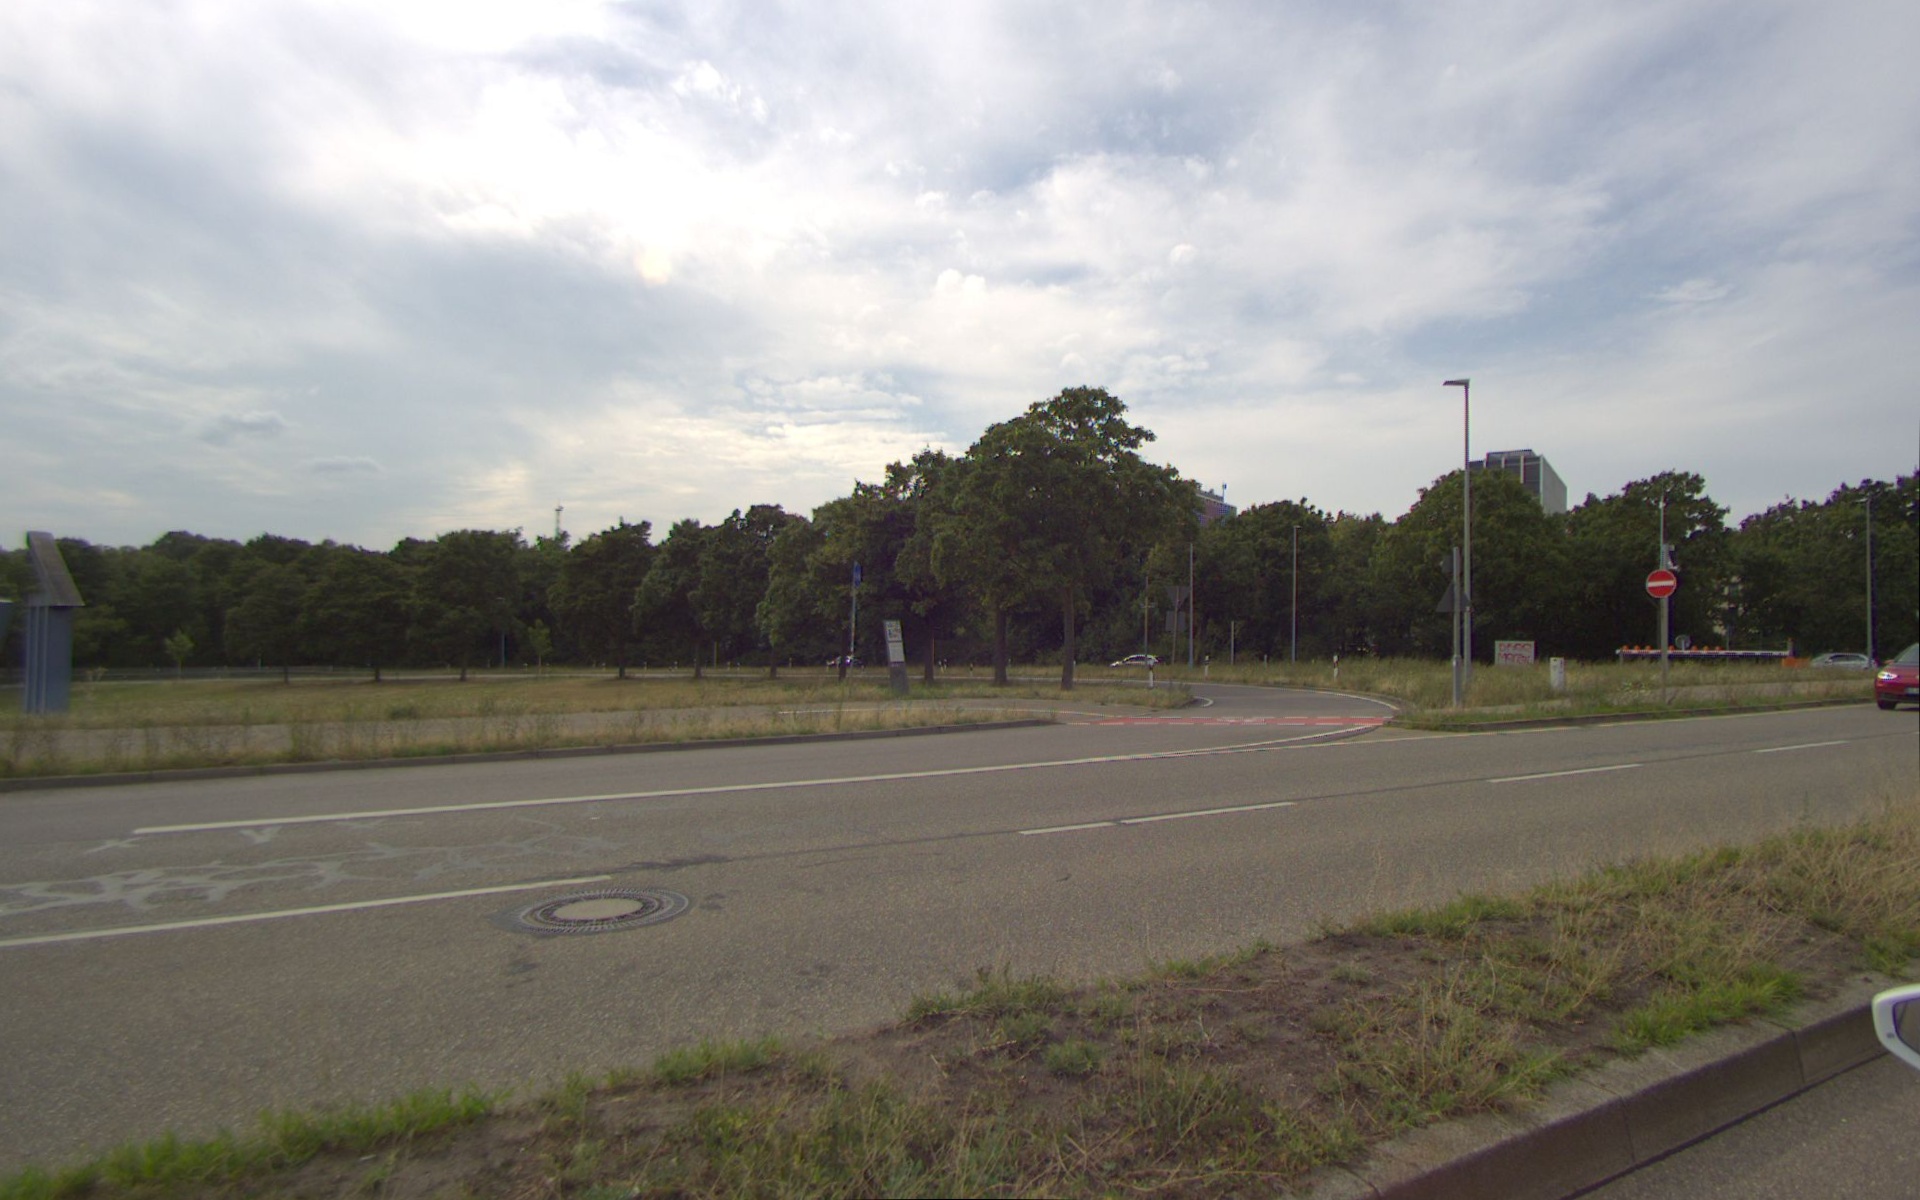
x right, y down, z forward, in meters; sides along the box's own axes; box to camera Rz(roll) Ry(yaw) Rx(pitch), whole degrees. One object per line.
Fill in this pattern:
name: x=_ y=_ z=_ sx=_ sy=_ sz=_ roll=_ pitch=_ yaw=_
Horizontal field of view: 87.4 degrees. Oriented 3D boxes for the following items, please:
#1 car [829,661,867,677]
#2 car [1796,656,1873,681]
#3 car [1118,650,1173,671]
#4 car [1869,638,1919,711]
car: x=-10.890 y=6.712 z=97.843 sx=3.823 sy=1.414 sz=1.566 roll=-2 pitch=-3 yaw=41
car: x=46.045 y=3.603 z=52.889 sx=2.950 sy=1.290 sz=1.273 roll=0 pitch=-2 yaw=-1
car: x=13.588 y=4.438 z=73.841 sx=1.562 sy=1.414 sz=3.832 roll=2 pitch=-3 yaw=-41
car: x=22.873 y=1.674 z=23.146 sx=4.288 sy=1.595 sz=1.643 roll=1 pitch=-4 yaw=-31
